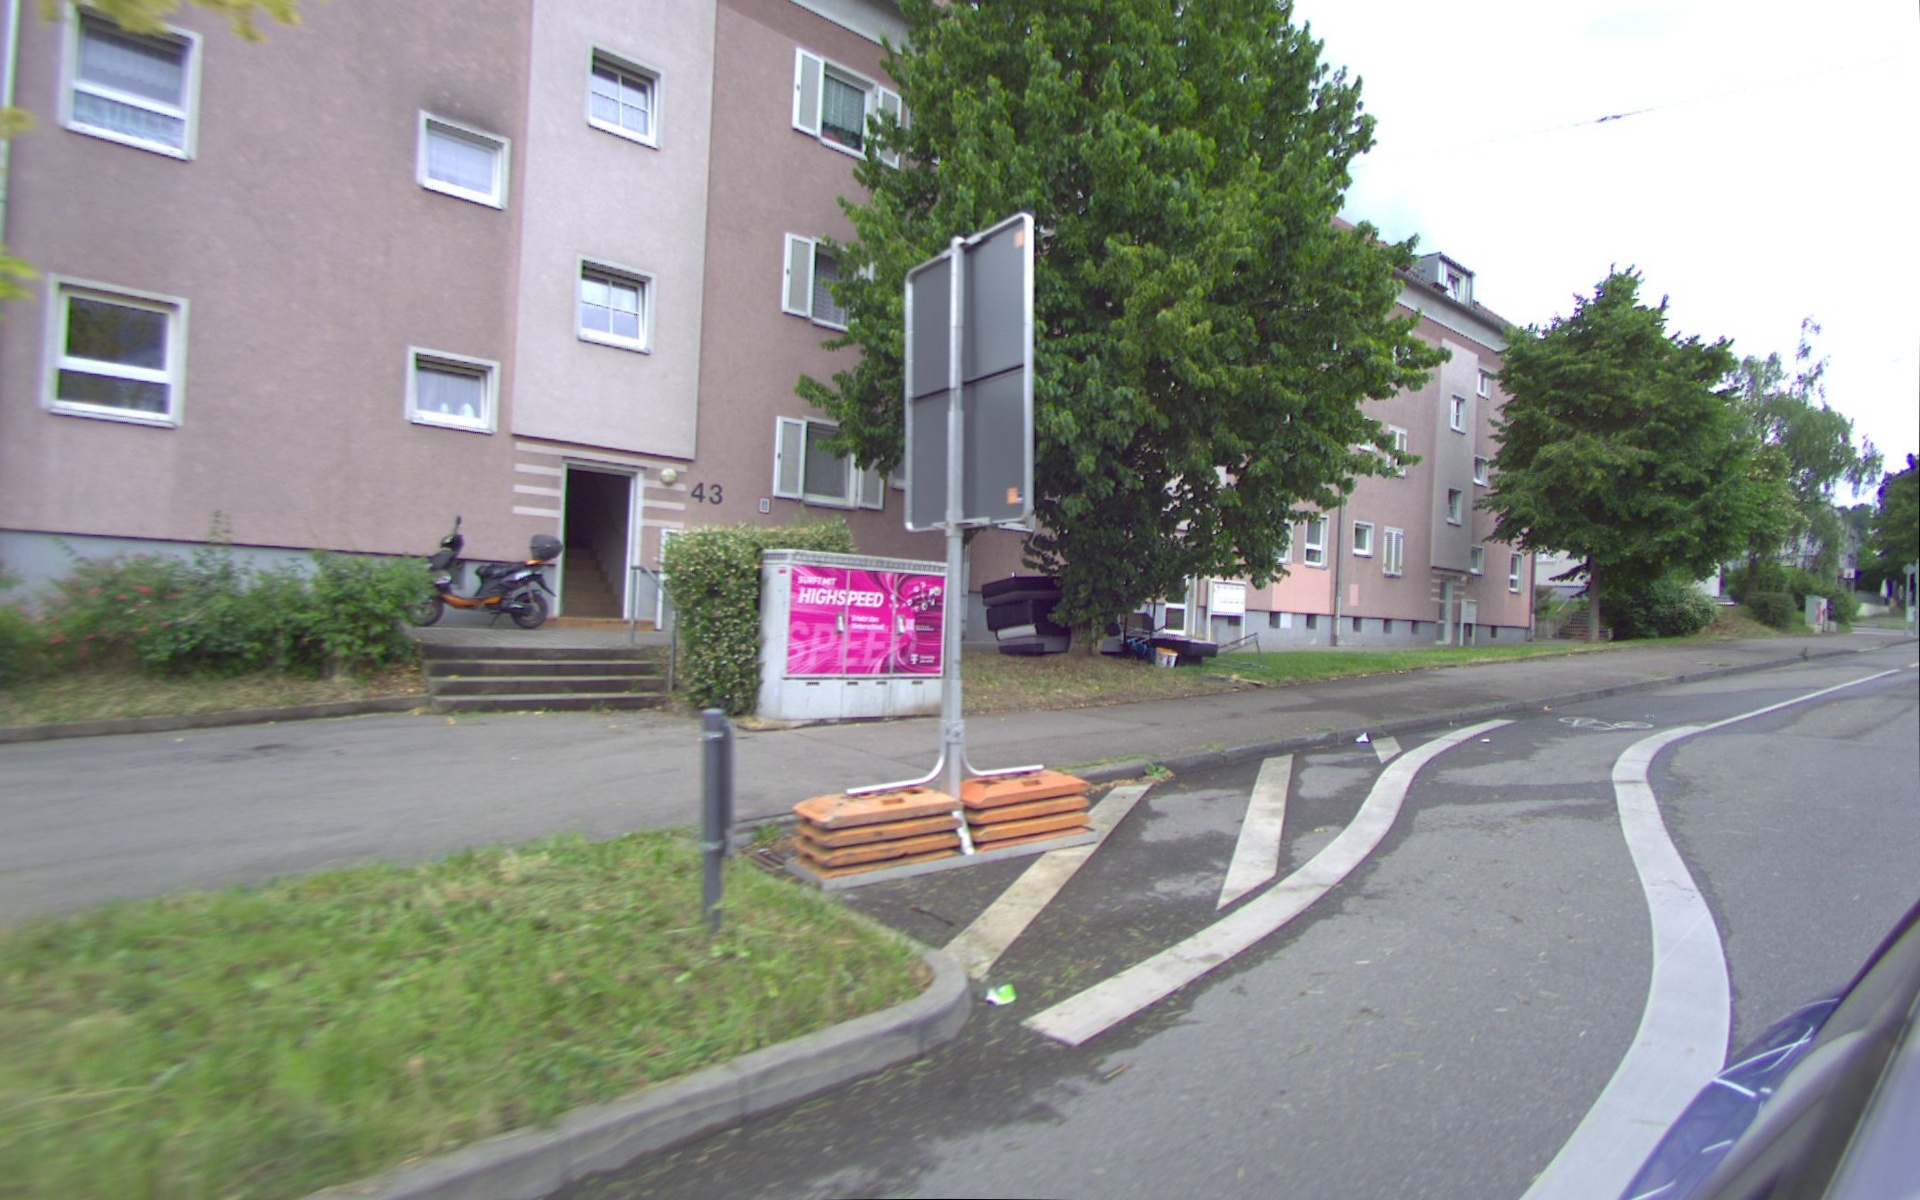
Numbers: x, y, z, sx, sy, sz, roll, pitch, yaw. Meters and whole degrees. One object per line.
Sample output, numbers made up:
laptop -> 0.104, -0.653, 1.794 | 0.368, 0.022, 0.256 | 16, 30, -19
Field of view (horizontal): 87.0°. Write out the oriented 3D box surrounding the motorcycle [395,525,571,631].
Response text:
motorcycle -> -6.002, -0.268, 12.809 | 1.933, 1.243, 0.591 | 0, 1, -41
